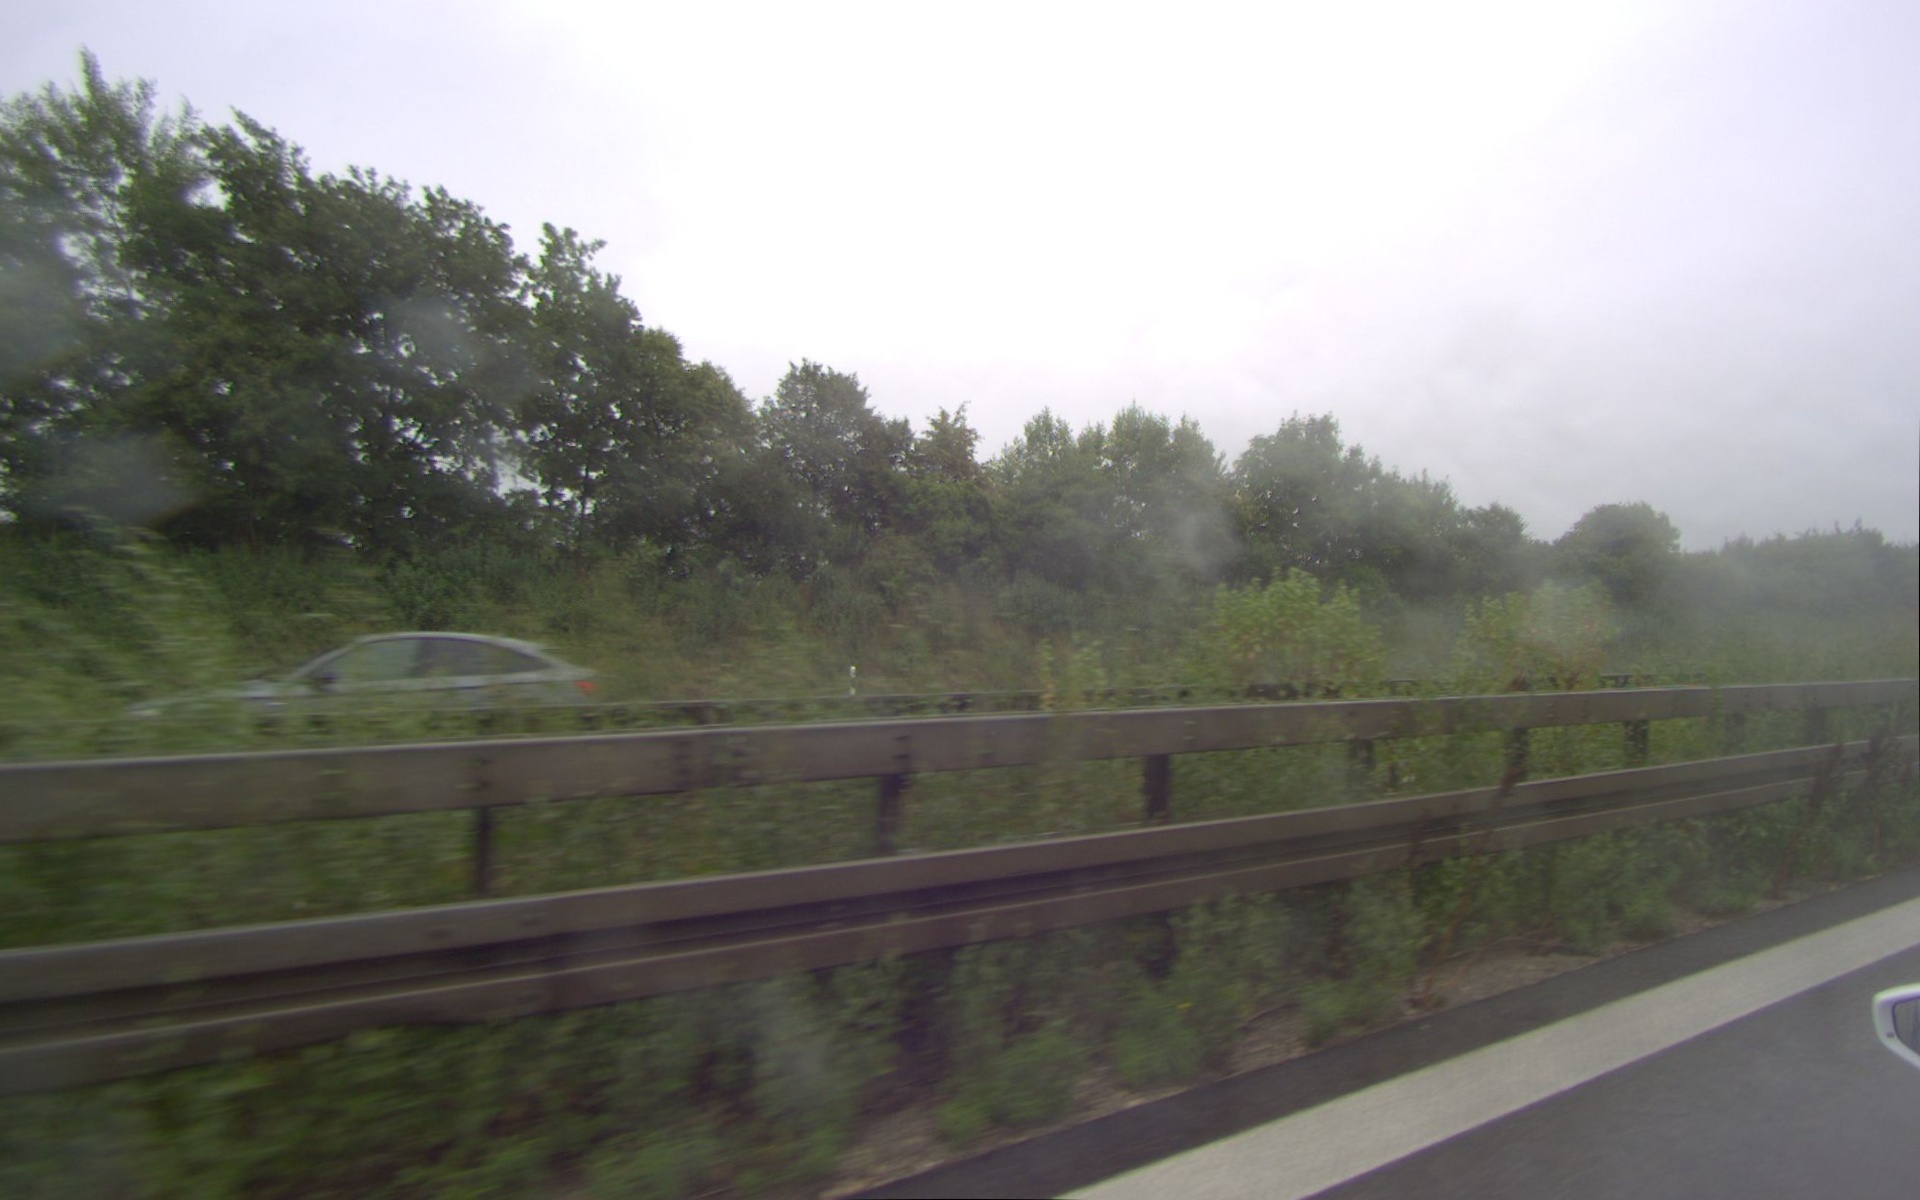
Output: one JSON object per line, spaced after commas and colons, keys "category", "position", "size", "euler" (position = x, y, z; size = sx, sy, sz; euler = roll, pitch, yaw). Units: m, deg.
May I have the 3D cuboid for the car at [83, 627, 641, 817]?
{"category": "car", "position": [-6.221, 1.175, 11.082], "size": [4.901, 1.705, 1.787], "euler": [1, -2, -31]}
